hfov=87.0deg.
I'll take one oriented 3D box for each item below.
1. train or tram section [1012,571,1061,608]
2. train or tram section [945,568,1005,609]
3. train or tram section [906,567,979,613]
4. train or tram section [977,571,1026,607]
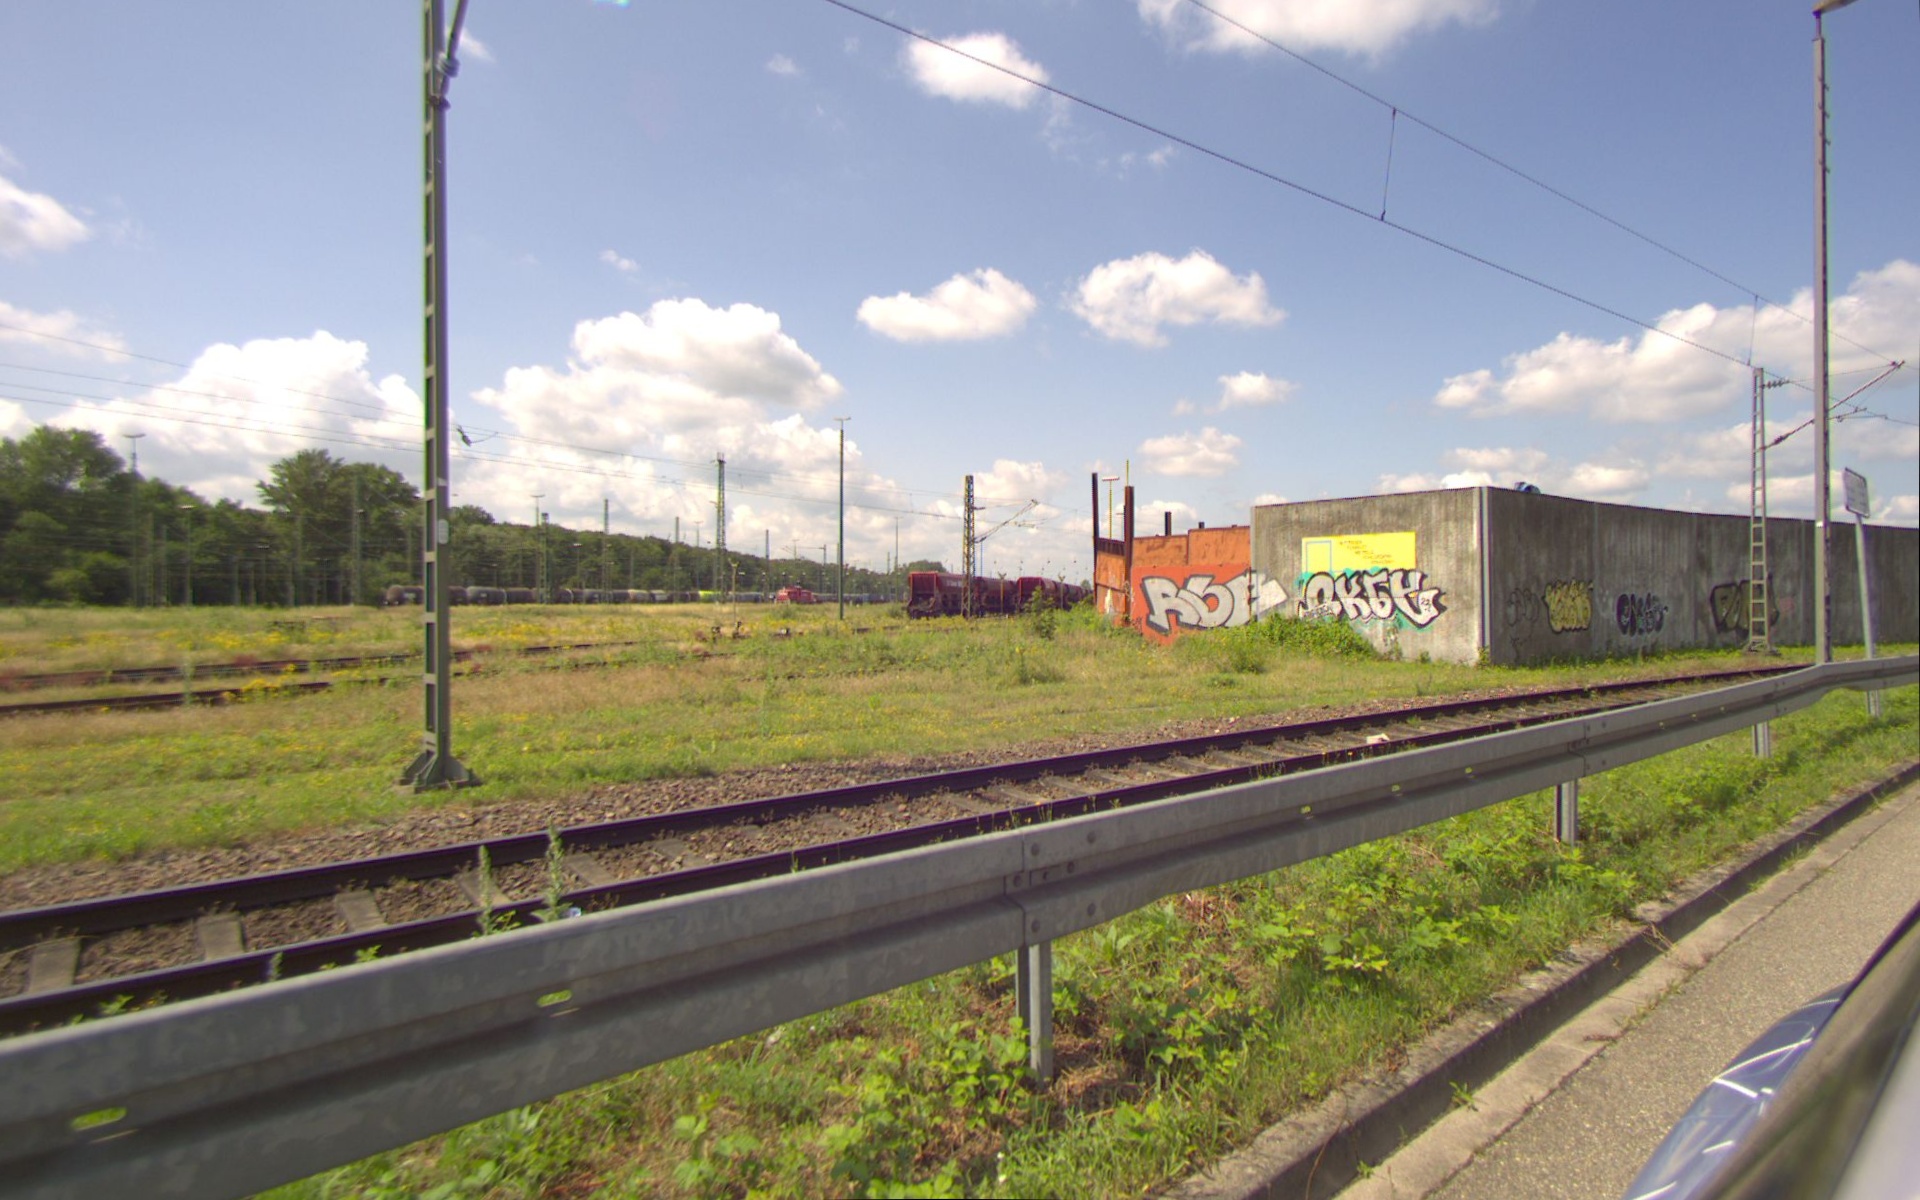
[{"bbox_3d":[8.427,-1.111,109.682,3.159,3.764,12.496,0,0,14],"label":"train or tram section"},{"bbox_3d":[1.680,-1.083,100.401,3.182,3.764,12.496,0,0,14],"label":"train or tram section"},{"bbox_3d":[-1.333,-0.832,88.298,3.253,3.764,12.496,0,0,14],"label":"train or tram section"},{"bbox_3d":[4.757,-1.133,112.494,3.054,3.764,12.496,0,0,14],"label":"train or tram section"}]
